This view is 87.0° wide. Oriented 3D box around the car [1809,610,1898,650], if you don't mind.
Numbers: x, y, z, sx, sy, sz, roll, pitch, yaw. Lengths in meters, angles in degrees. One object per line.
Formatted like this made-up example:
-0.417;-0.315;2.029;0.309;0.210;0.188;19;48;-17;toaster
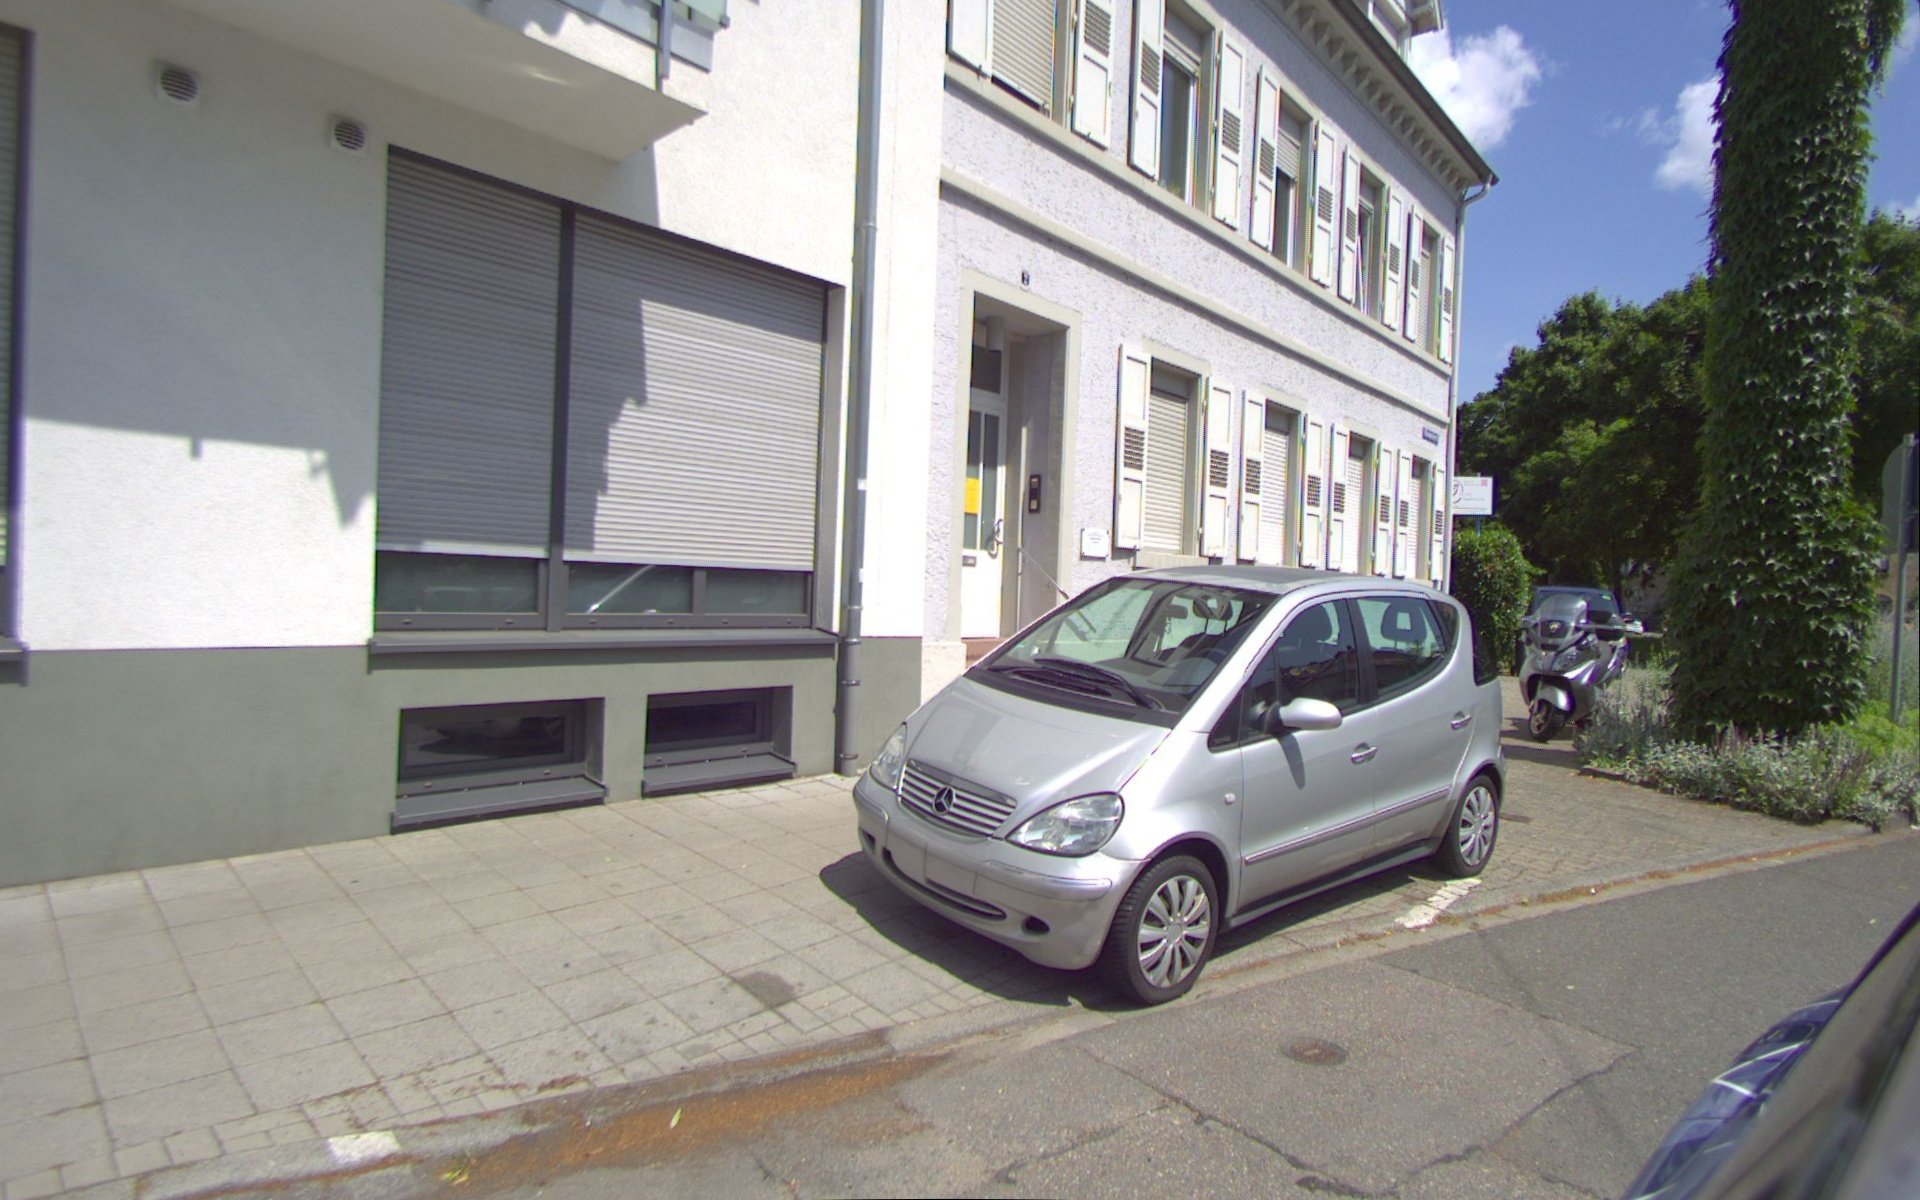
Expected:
46.019;1.512;52.255;1.751;1.633;3.857;8;4;16;car

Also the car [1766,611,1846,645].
47.176;1.526;56.549;1.750;1.407;3.859;8;4;14;car

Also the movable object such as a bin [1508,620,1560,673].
11.016;0.882;19.421;0.621;0.973;0.618;1;1;-30;movable object such as a bin

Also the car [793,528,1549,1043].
1.246;0.549;5.107;3.732;1.630;1.731;0;4;-40;car

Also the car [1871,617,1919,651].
44.206;1.644;46.761;1.757;1.404;3.968;8;4;23;car

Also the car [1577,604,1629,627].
52.139;1.224;82.147;1.967;1.638;4.175;2;1;8;car

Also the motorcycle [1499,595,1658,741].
6.568;0.656;10.684;2.298;1.369;0.801;1;1;-43;motorcycle

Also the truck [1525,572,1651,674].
14.045;0.466;22.918;1.899;1.950;5.230;4;1;27;truck

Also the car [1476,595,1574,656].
16.205;0.688;29.213;1.693;1.545;3.830;3;1;19;car
